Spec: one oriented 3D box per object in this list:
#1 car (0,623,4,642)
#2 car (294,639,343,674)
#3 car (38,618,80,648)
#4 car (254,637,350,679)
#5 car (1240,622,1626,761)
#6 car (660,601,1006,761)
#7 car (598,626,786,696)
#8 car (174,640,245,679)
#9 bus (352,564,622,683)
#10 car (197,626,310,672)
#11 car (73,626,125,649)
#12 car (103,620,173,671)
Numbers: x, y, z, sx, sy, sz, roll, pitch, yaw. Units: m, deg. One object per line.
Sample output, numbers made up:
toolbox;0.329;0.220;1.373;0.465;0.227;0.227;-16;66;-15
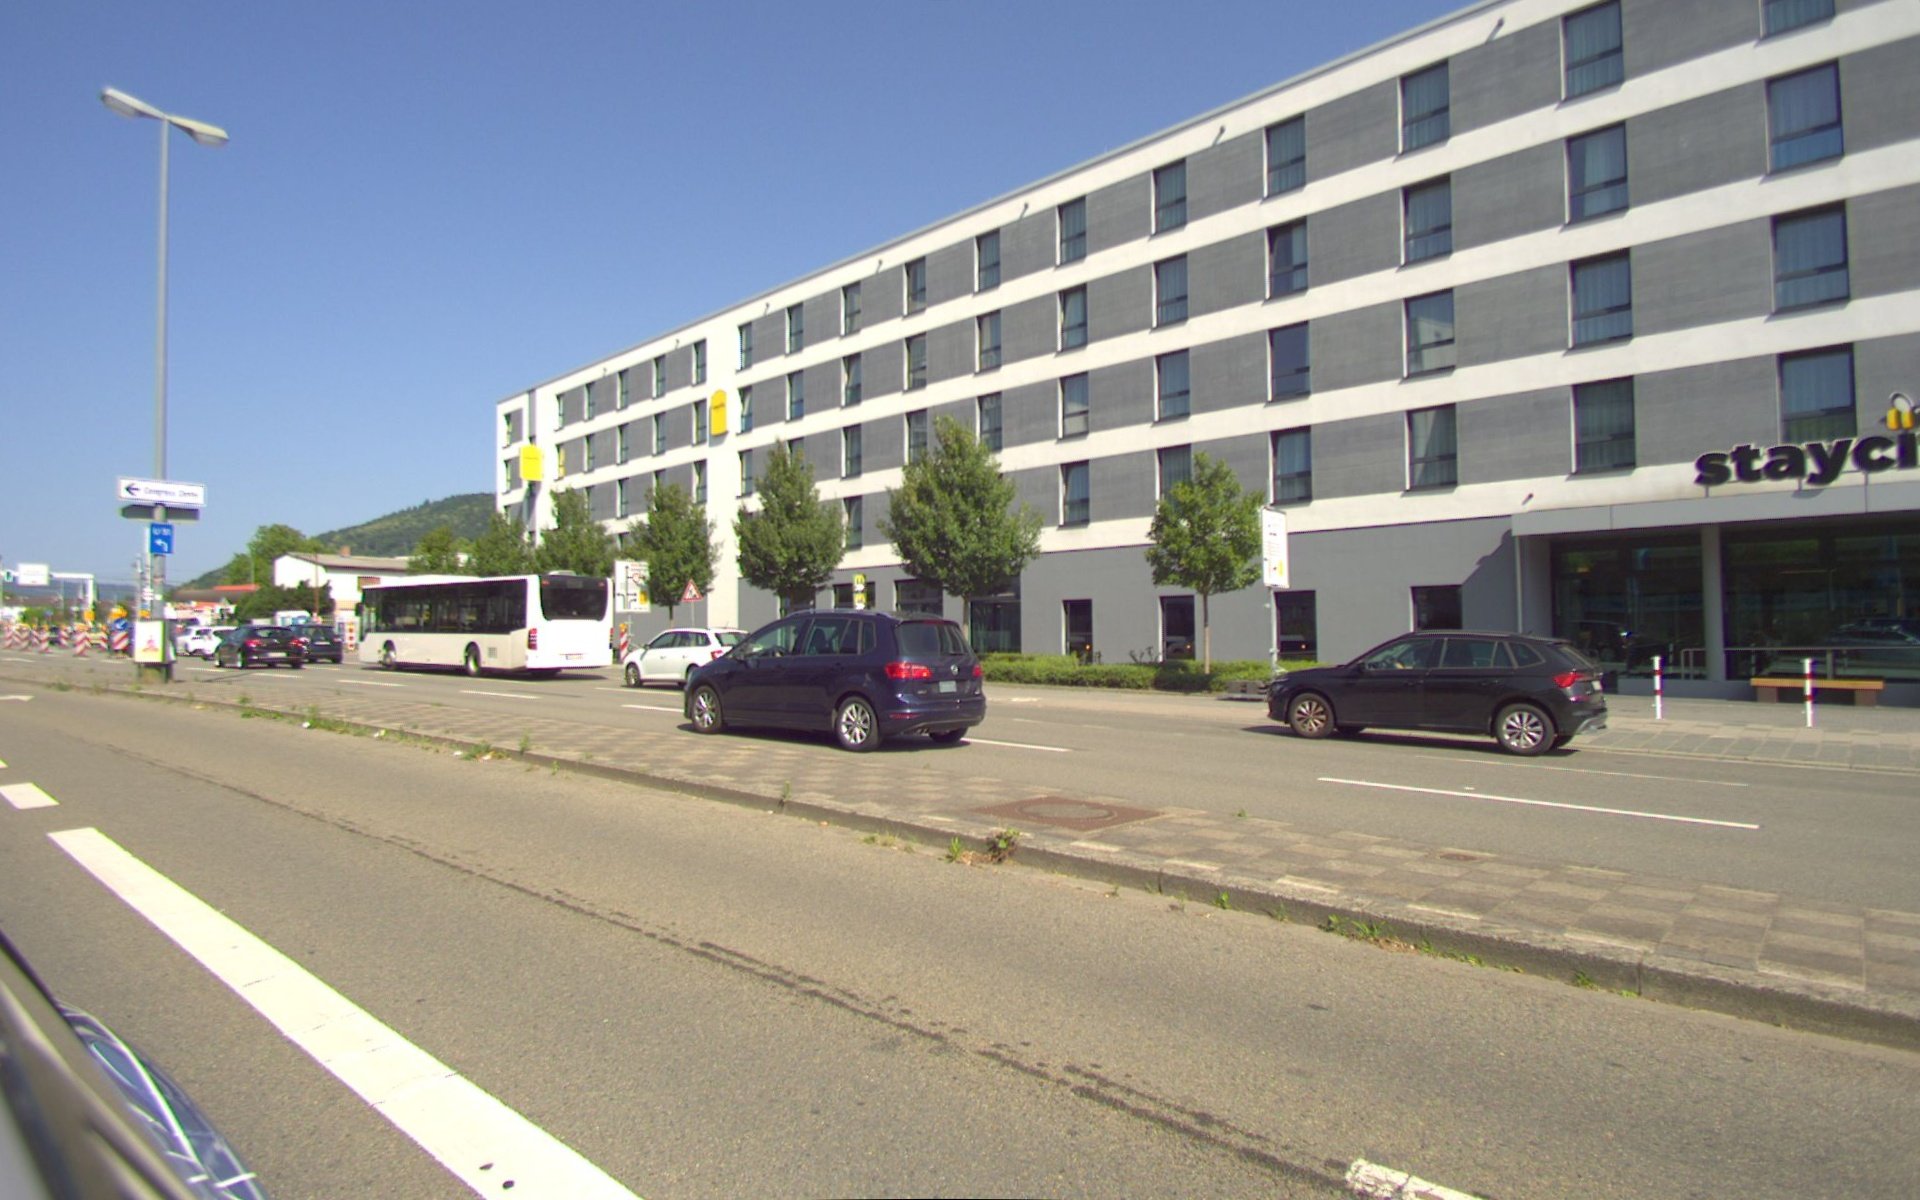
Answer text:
car;-90.063;3.072;93.507;4.888;1.725;1.973;-3;-3;41
car;-25.044;2.185;39.480;2.219;1.216;1.044;0;0;42
car;-66.123;2.405;74.233;4.000;2.029;1.972;0;0;43
car;-26.538;2.284;40.735;4.888;1.534;1.973;-1;-2;41
car;6.322;1.119;13.829;4.411;1.590;1.972;-1;-3;42
car;-1.645;0.884;12.365;4.129;1.630;1.867;-1;-2;38
car;-6.444;1.426;24.183;4.403;1.497;1.976;0;-4;36
car;-32.269;2.517;43.483;3.999;1.462;1.740;0;0;42
bus;-14.953;0.773;31.199;11.966;3.102;2.710;-1;-4;40
car;-24.056;1.610;34.405;4.887;1.443;1.973;-1;-2;40
car;-58.734;2.530;69.011;4.888;1.534;1.973;-1;-2;41
car;-35.545;1.915;43.706;4.162;2.029;1.658;0;0;41
